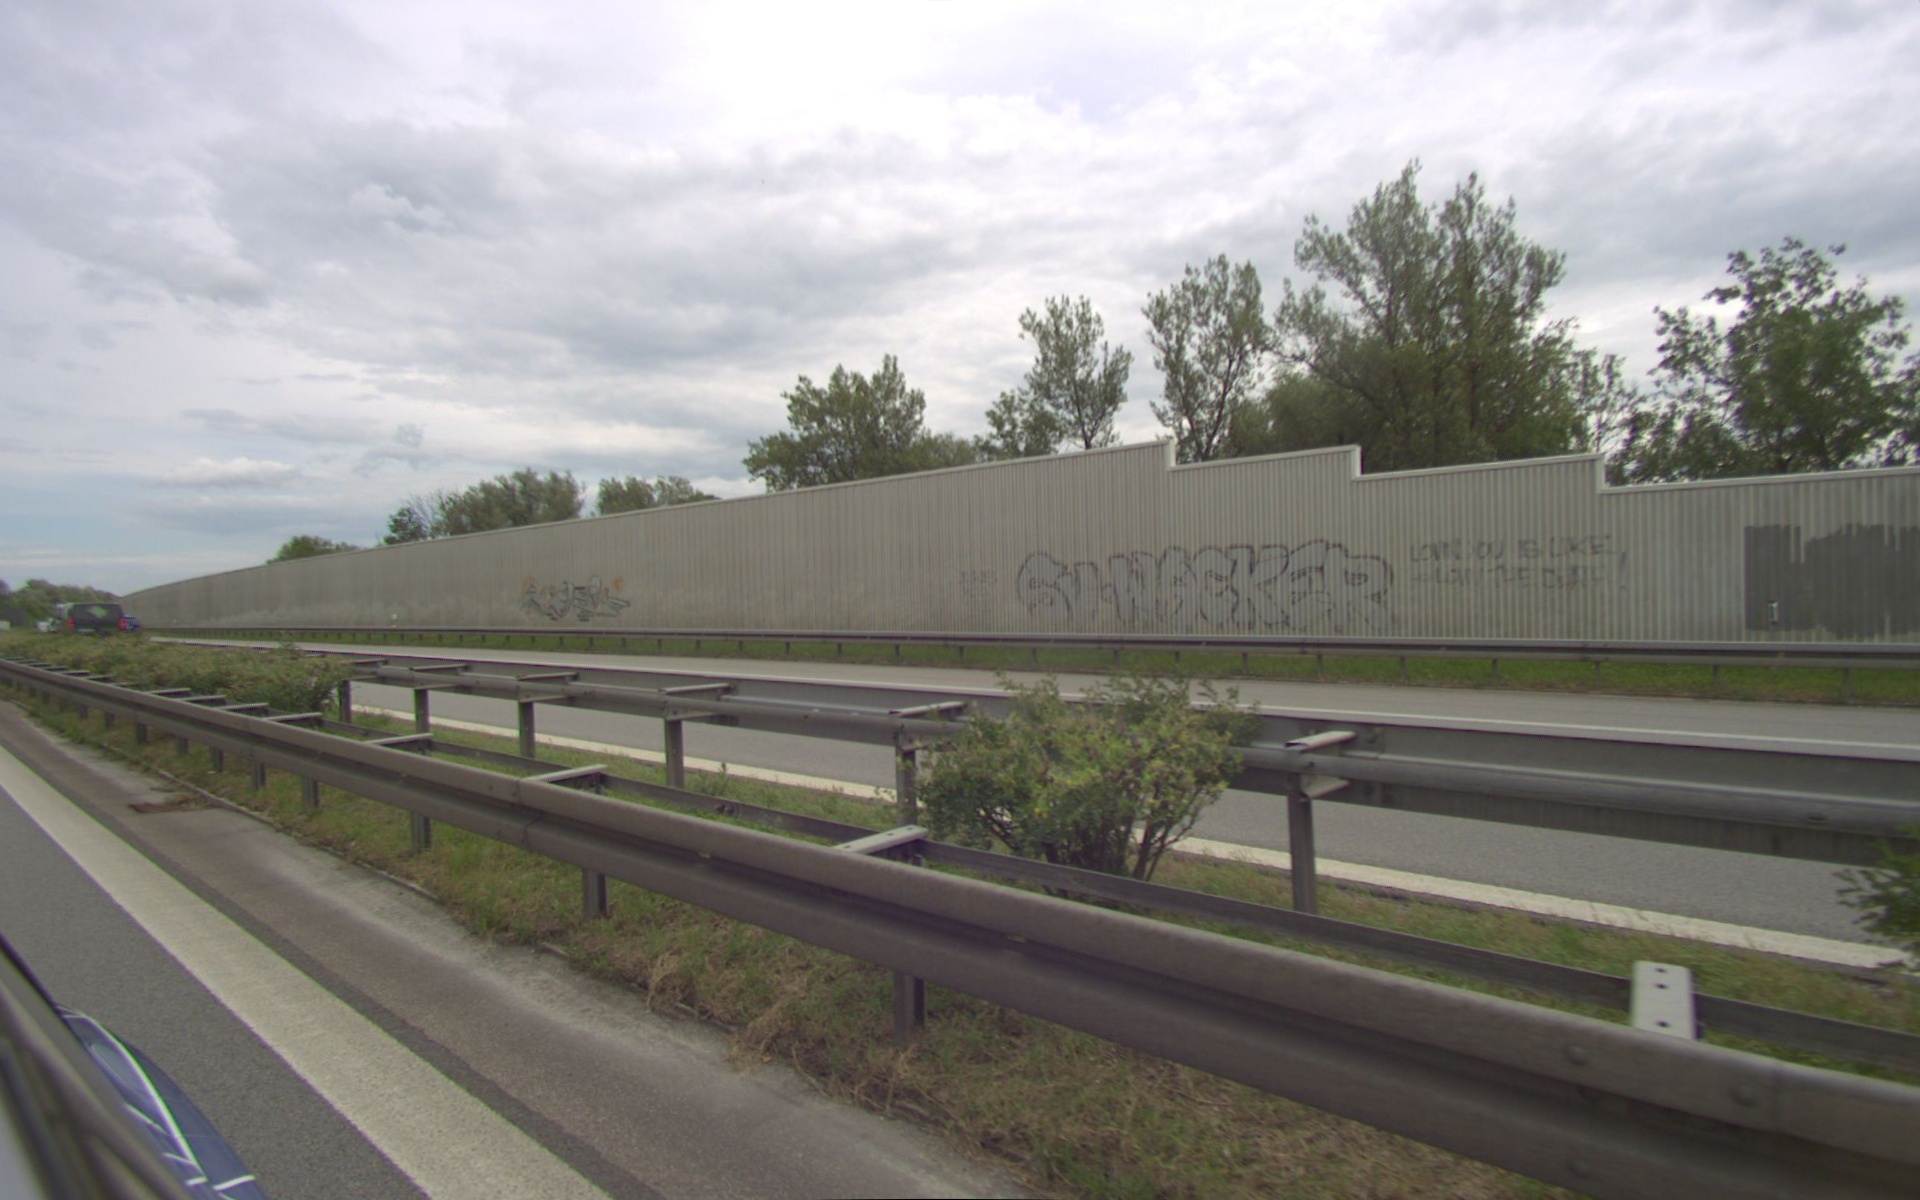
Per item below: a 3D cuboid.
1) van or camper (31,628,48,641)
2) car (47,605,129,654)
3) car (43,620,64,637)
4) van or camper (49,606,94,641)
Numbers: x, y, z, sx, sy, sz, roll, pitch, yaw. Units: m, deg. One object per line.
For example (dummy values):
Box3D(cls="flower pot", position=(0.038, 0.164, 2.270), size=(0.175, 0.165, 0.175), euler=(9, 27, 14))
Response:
Box3D(cls="van or camper", position=(-177.709, 6.627, 195.349), size=(6.311, 2.460, 1.971), euler=(-2, -3, 45))
Box3D(cls="car", position=(-35.776, 1.199, 41.475), size=(4.553, 1.900, 1.972), euler=(-2, -1, 42))
Box3D(cls="car", position=(-136.671, 4.314, 152.532), size=(2.087, 2.474, 5.687), euler=(1, -2, -44))
Box3D(cls="van or camper", position=(-72.235, 1.910, 82.244), size=(5.755, 2.800, 2.229), euler=(-2, -1, 43))
